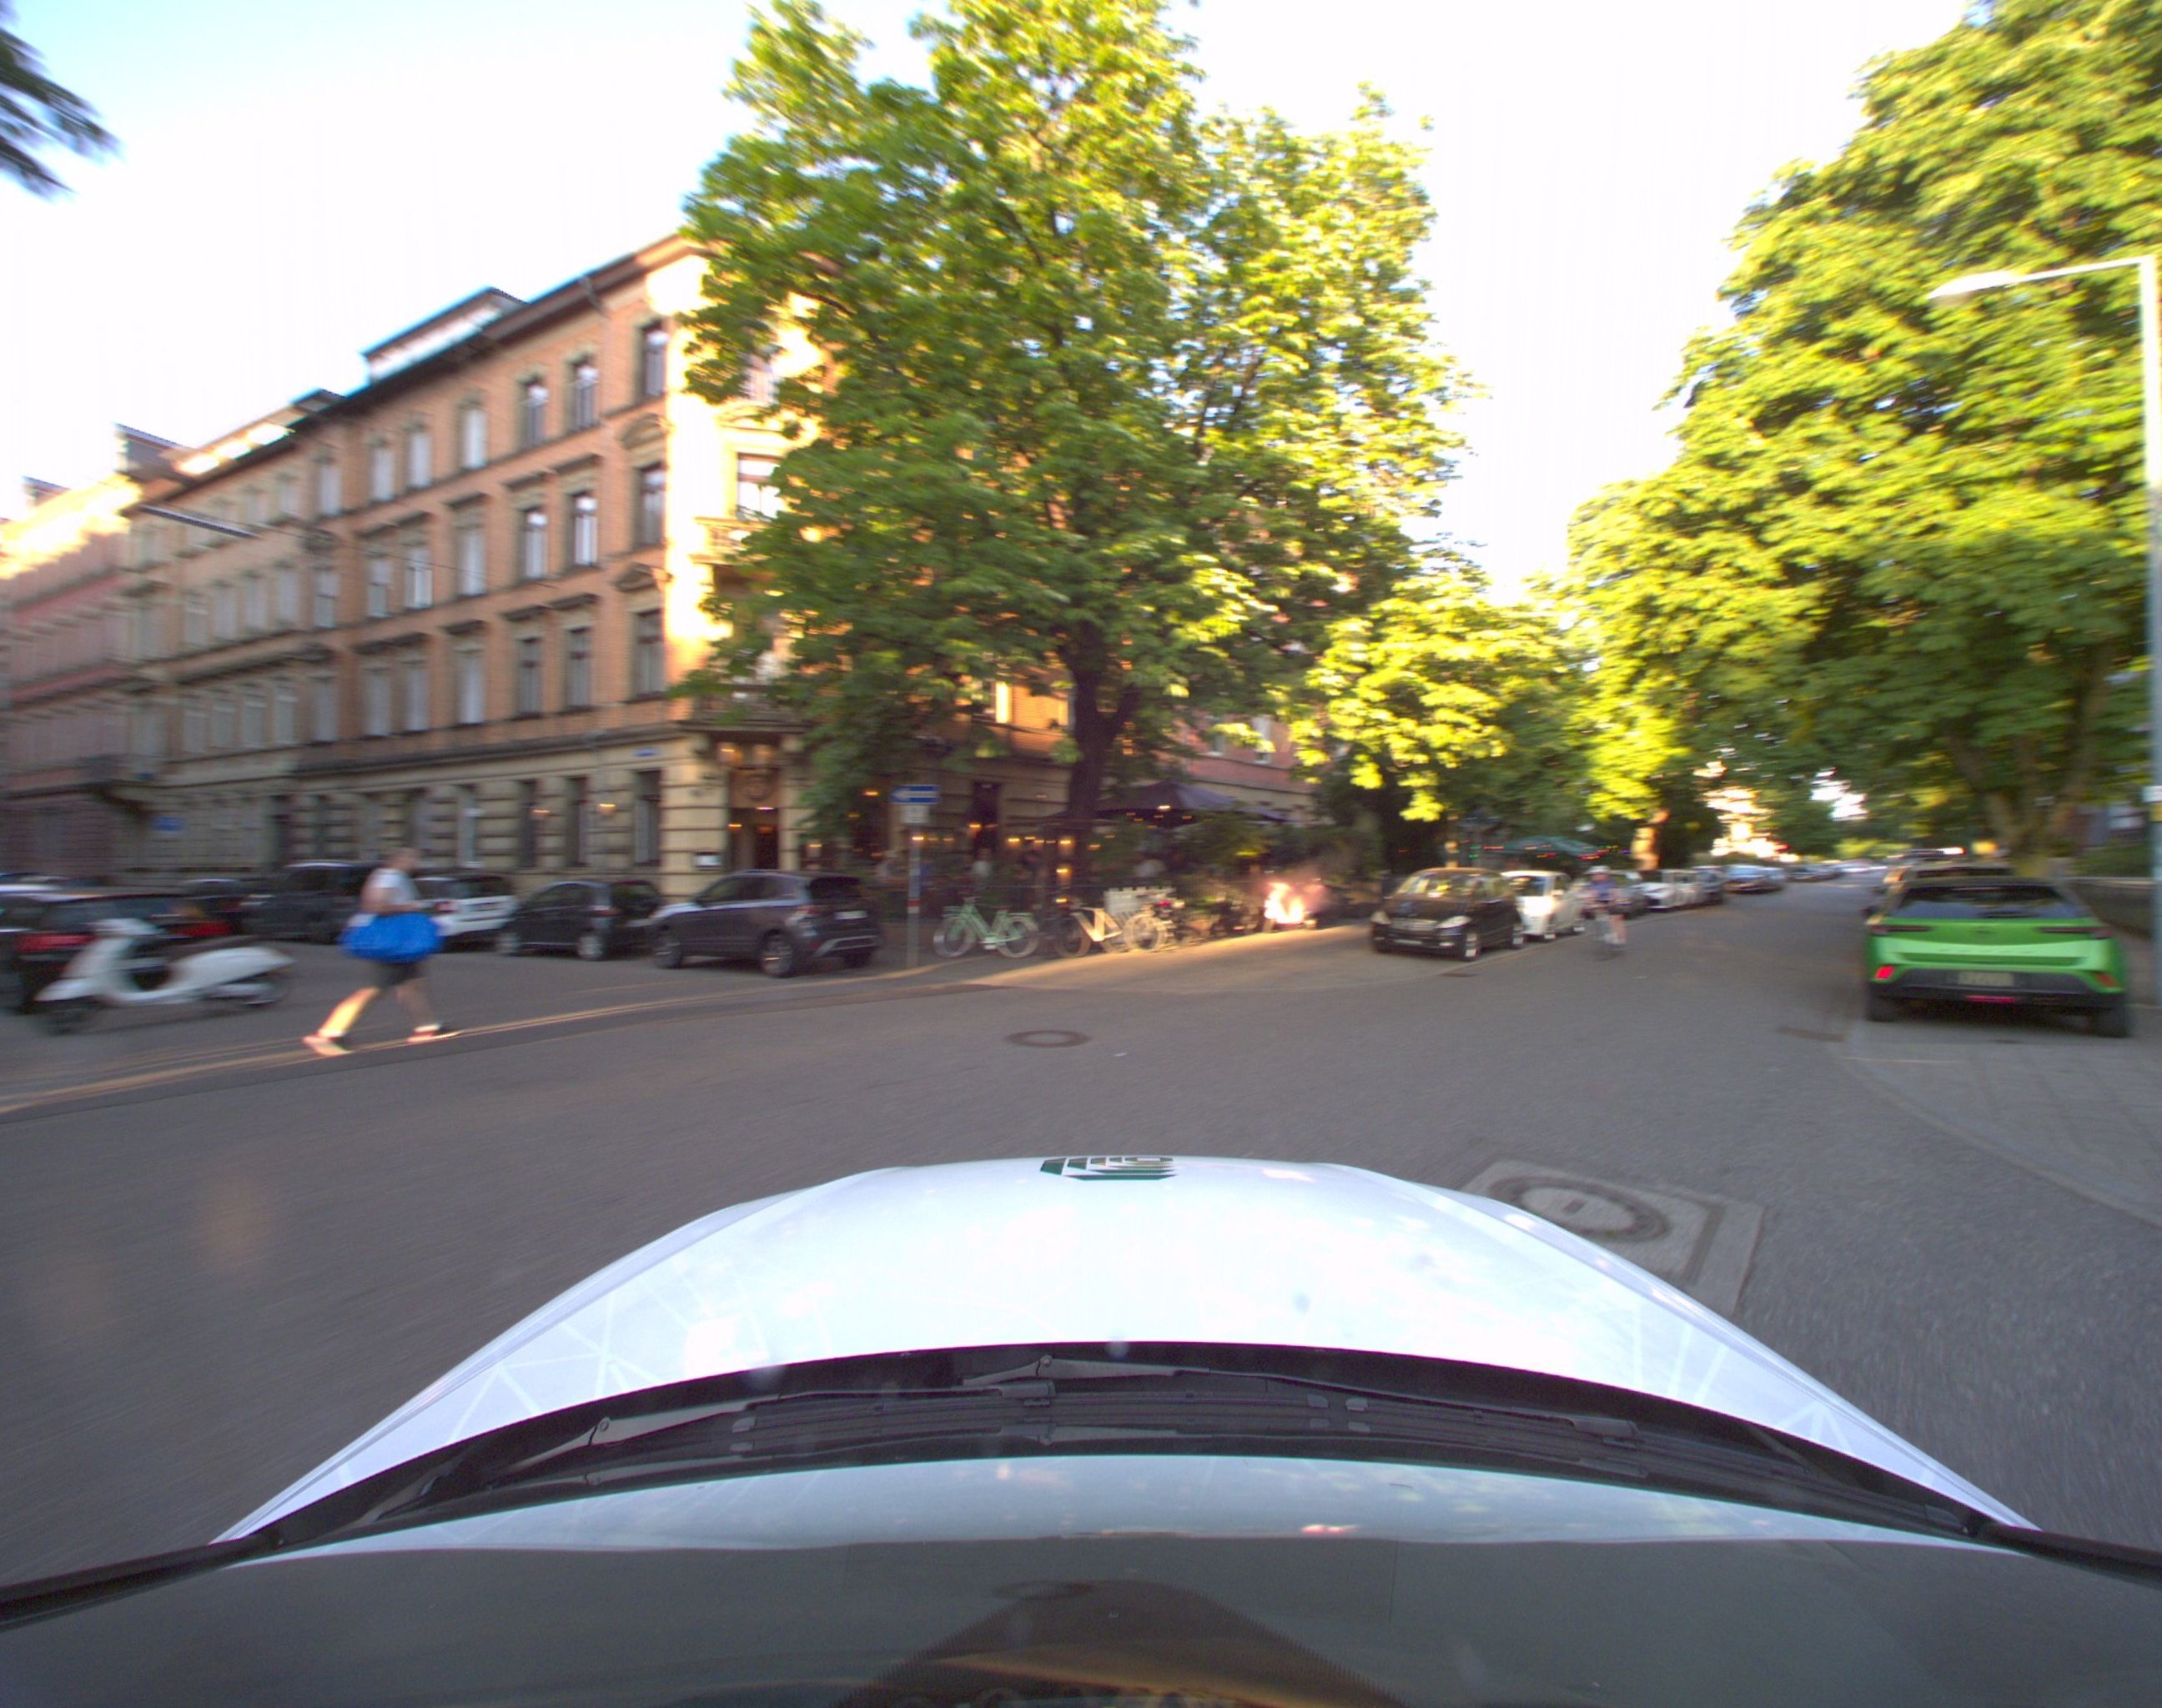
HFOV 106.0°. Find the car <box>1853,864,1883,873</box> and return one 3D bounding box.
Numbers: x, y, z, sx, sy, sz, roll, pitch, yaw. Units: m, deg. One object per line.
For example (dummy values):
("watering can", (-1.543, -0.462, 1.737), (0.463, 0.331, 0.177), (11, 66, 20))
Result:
("car", (135.050, 2.541, 139.746), (3.584, 1.461, 1.616), (0, -1, 43))

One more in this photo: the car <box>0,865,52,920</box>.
("car", (-37.636, 1.331, 28.257), (3.445, 1.823, 1.698), (-1, 0, 26))

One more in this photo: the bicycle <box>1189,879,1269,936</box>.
("bicycle", (3.183, 1.129, 17.428), (1.964, 1.144, 0.388), (1, 1, -34))

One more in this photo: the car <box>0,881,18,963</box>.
("car", (-21.744, 1.285, 15.123), (4.369, 1.458, 1.588), (-1, 0, 26))

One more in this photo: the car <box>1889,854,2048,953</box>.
("car", (17.253, 0.892, 16.027), (1.648, 1.679, 4.145), (-5, -3, 42))

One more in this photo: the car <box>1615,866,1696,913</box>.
("car", (20.433, 1.208, 28.924), (3.907, 1.435, 1.589), (0, 2, -44))

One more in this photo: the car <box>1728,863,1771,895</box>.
("car", (37.451, 1.366, 45.591), (1.674, 1.563, 4.429), (2, 2, 42))

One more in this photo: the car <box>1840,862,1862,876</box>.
("car", (88.922, 1.722, 94.016), (3.809, 1.566, 1.700), (0, -1, -44))

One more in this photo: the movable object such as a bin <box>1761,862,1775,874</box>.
("movable object such as a bin", (79.182, 1.582, 93.832), (1.010, 1.321, 1.004), (0, 2, -39))

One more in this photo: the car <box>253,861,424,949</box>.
("car", (-16.938, 1.110, 18.584), (3.445, 1.823, 1.698), (-1, 0, 26))

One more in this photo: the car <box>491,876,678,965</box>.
("car", (-9.392, 1.175, 15.404), (3.292, 1.458, 1.476), (0, 0, 26))

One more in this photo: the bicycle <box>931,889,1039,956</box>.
("bicycle", (-1.667, 1.193, 14.211), (1.812, 1.098, 0.393), (-1, 0, 7))

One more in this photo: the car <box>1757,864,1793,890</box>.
("car", (43.459, 1.394, 50.979), (1.537, 1.481, 3.716), (2, 2, 42))

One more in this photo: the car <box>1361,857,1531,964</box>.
("car", (6.950, 0.934, 15.317), (1.649, 1.677, 3.869), (2, 2, 44))

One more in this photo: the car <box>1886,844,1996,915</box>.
("car", (27.235, 0.781, 25.947), (1.935, 2.059, 4.859), (-5, -3, 42))

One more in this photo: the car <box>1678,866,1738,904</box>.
("car", (26.339, 1.267, 34.165), (1.537, 1.485, 3.715), (-2, -1, 44))

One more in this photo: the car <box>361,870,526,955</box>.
("car", (-13.383, 1.175, 17.082), (3.291, 1.594, 1.476), (-1, 0, 28))

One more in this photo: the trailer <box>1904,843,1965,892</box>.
("trailer", (43.570, 0.677, 41.621), (4.671, 2.296, 1.936), (0, -4, -44))

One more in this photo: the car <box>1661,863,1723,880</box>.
("car", (54.008, 1.526, 72.030), (1.716, 1.447, 4.062), (-1, 0, -35))

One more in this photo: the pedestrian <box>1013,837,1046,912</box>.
("pedestrian", (-1.067, 0.417, 16.830), (0.519, 1.520, 0.465), (-1, -1, 15))

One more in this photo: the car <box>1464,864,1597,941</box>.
("car", (10.287, 1.012, 18.537), (3.732, 1.493, 1.649), (0, 2, -45))

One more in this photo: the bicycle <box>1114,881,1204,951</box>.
("bicycle", (1.499, 1.133, 15.321), (1.967, 1.185, 0.388), (1, 2, -41))

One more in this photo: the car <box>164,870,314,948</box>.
("car", (-21.856, 1.378, 21.143), (3.445, 1.823, 1.698), (-1, 0, 26))

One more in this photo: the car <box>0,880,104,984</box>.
("car", (-17.494, 1.192, 12.897), (4.369, 1.458, 1.588), (-1, 0, 26))

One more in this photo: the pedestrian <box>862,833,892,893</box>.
("pedestrian", (-4.929, 0.219, 19.684), (0.517, 1.412, 0.466), (-2, -1, 32))

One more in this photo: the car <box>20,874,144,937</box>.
("car", (-31.230, 1.567, 25.456), (3.445, 1.823, 1.698), (-1, 0, 26))

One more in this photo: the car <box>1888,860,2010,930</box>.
("car", (20.921, 0.959, 19.757), (1.648, 1.500, 3.716), (-5, -3, 42))

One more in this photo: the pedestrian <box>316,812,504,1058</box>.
("pedestrian", (-6.000, 0.677, 7.321), (0.858, 2.014, 1.015), (-2, -2, 26))

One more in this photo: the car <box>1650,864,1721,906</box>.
("car", (24.015, 1.165, 32.316), (3.714, 1.485, 1.538), (0, 2, -43))

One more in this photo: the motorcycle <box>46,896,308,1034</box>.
("motorcycle", (-9.761, 1.145, 8.904), (0.466, 1.257, 1.872), (-2, -1, 44))

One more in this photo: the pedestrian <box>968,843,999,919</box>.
("pedestrian", (-1.909, 0.523, 15.984), (0.425, 1.451, 0.465), (-1, -1, 15))

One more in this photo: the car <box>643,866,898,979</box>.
("car", (-4.989, 1.011, 13.011), (3.809, 1.545, 1.643), (-1, 0, 27))

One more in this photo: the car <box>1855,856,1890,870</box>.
("car", (137.434, 1.537, 141.353), (4.310, 2.318, 1.755), (-1, -1, 45))

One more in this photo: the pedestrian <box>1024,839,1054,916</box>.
("pedestrian", (-0.811, 0.449, 15.745), (0.425, 1.451, 0.465), (-1, -1, 15))

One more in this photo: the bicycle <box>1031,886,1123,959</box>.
("bicycle", (-0.048, 1.159, 14.202), (1.755, 1.144, 0.388), (-1, -1, -40))

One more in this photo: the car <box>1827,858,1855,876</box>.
("car", (78.633, 1.325, 84.200), (4.453, 1.717, 1.904), (0, -1, -44))

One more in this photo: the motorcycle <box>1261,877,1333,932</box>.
("motorcycle", (4.952, 1.135, 18.622), (1.964, 1.185, 0.388), (1, 0, -34))

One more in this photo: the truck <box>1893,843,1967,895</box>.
("truck", (39.459, 0.690, 37.968), (1.935, 2.247, 4.673), (-5, -3, 42))

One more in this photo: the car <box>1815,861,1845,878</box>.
("car", (67.050, 1.356, 72.864), (3.982, 1.470, 1.602), (0, -1, -42))

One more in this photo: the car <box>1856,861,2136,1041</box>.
("car", (10.139, 0.926, 9.296), (1.715, 1.557, 3.985), (-5, -3, 45))

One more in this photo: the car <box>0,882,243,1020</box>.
("car", (-13.128, 1.151, 10.700), (3.968, 1.458, 1.798), (-1, 0, 26))

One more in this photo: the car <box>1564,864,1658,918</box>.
("car", (16.512, 1.072, 25.254), (1.823, 1.411, 4.629), (2, 2, 40))
